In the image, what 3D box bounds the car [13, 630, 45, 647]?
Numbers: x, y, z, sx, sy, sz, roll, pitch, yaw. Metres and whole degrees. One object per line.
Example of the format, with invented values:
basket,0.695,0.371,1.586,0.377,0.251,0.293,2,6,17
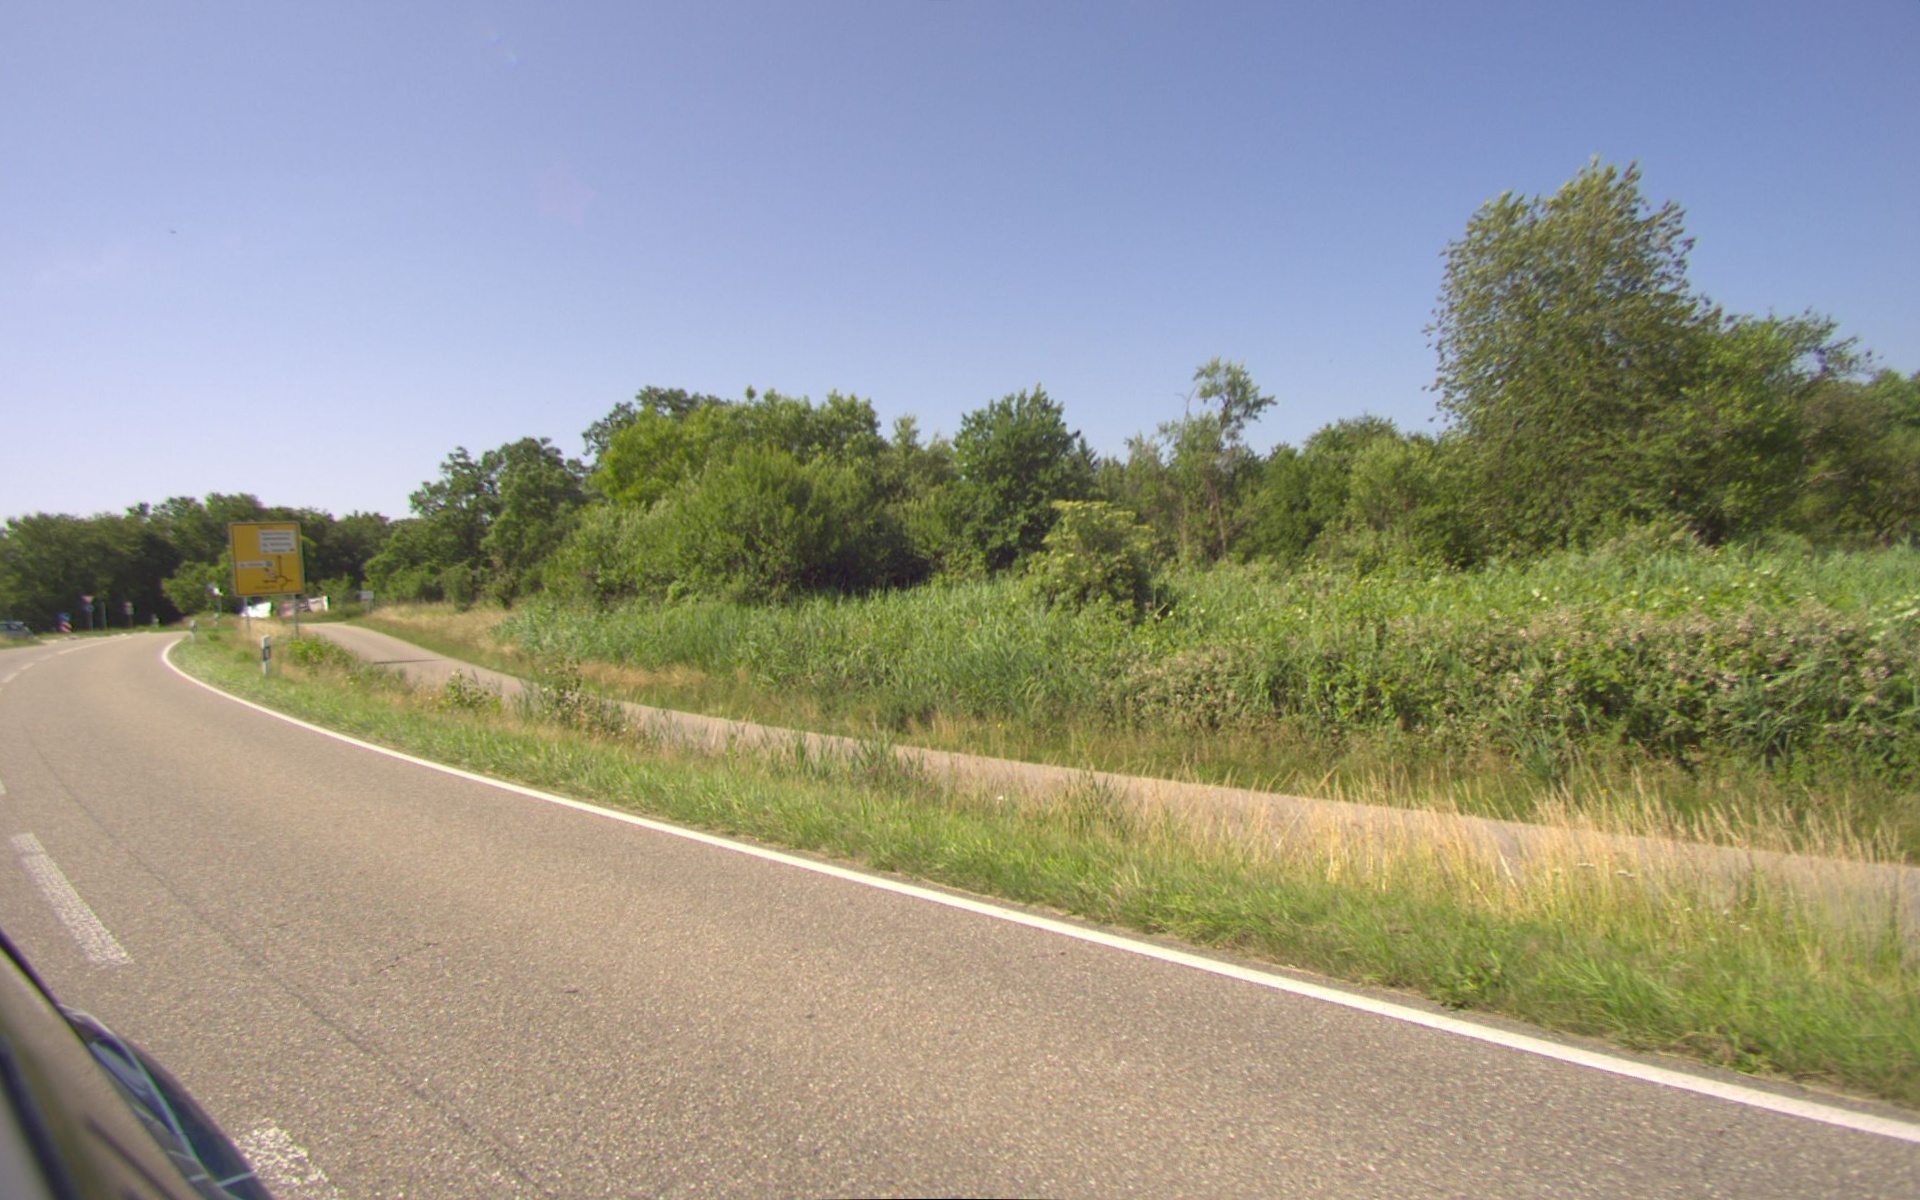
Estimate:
car,-96.802,3.984,105.212,4.345,1.668,1.687,-2,2,38
